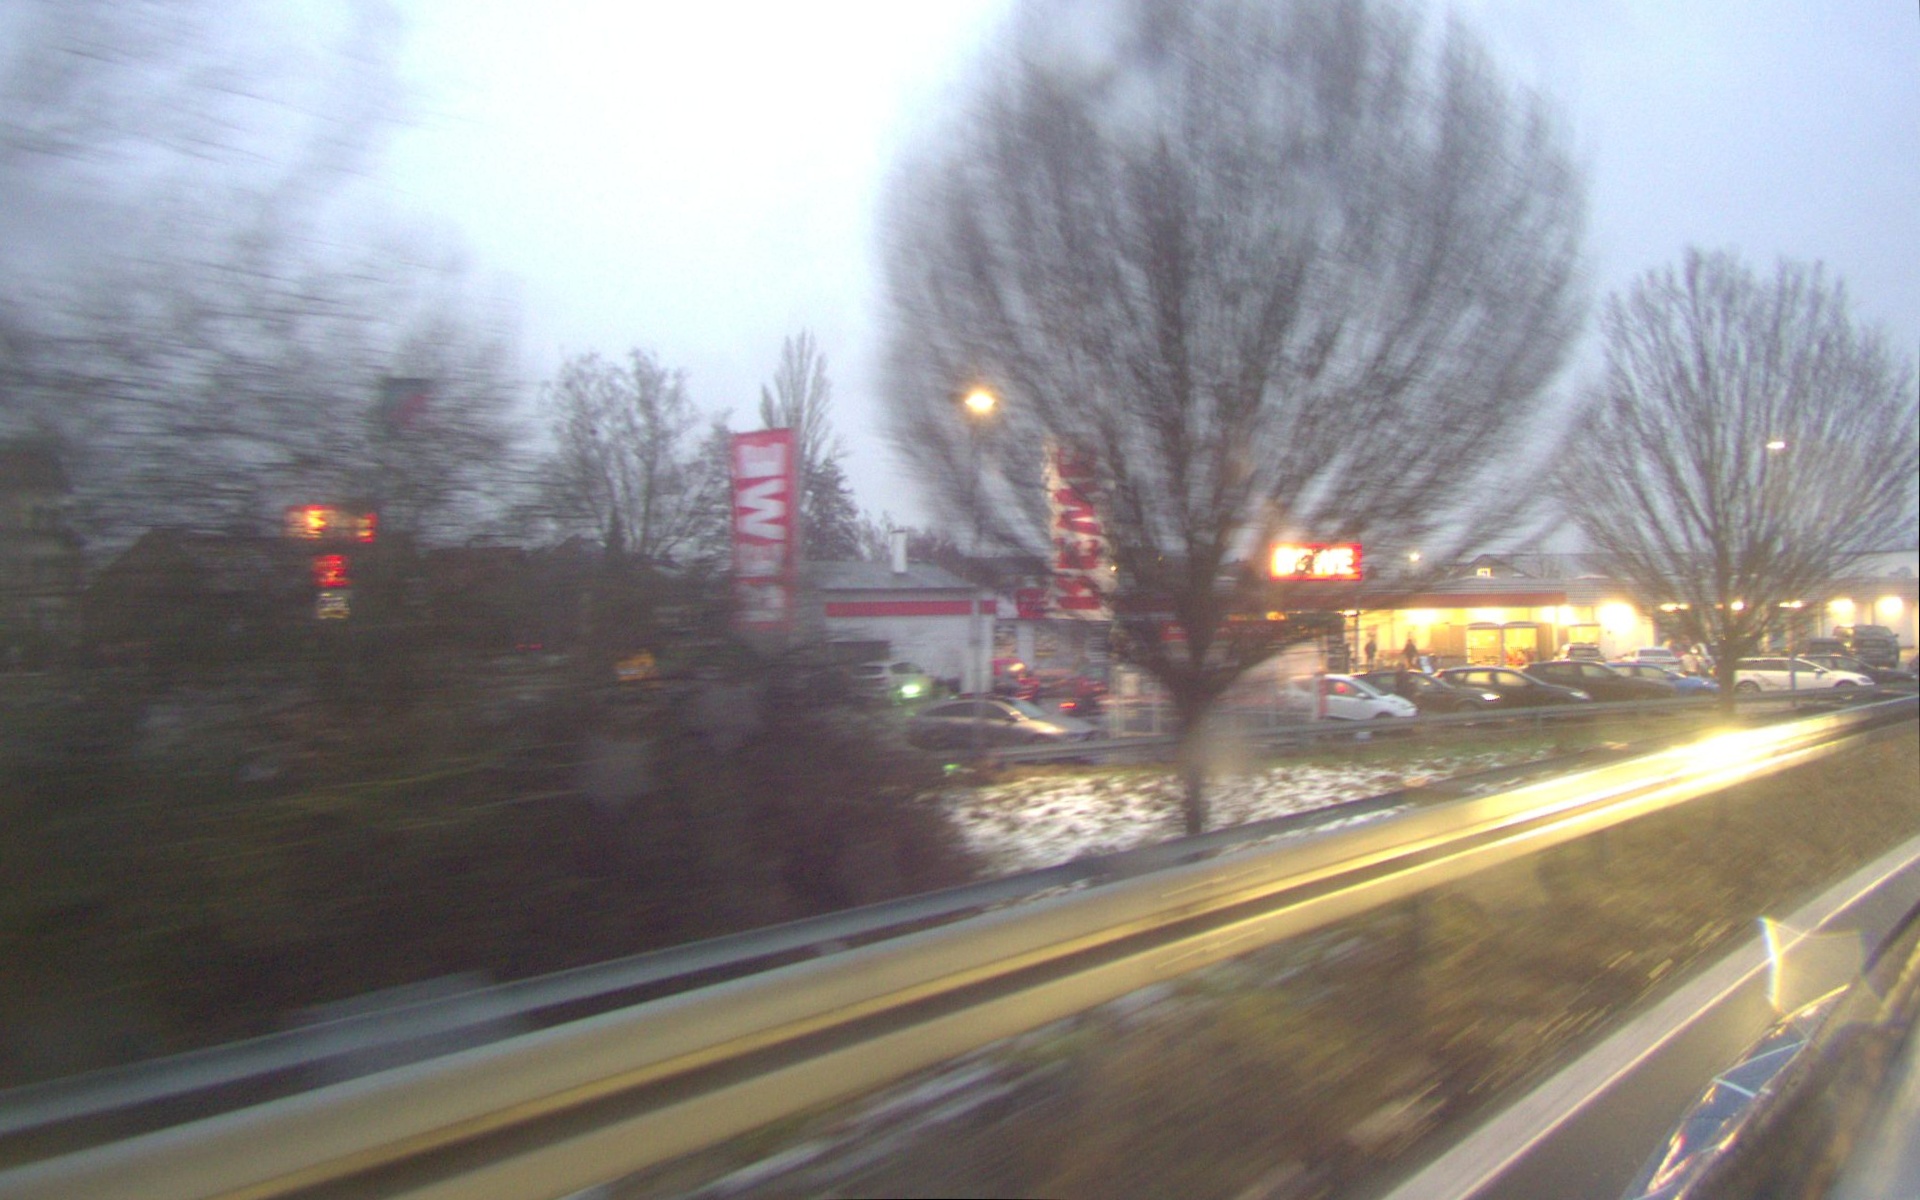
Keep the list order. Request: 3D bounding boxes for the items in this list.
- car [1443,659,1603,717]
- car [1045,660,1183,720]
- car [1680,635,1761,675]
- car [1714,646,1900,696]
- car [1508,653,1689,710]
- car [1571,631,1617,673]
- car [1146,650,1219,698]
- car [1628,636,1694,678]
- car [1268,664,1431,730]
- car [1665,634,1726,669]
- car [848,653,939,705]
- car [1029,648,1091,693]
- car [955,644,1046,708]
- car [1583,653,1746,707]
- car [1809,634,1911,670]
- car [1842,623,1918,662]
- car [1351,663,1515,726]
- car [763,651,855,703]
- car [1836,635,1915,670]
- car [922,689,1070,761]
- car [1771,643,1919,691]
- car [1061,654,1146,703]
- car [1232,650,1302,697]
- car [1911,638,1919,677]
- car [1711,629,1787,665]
[{"bbox_3d":[16.325,2.525,29.570,3.961,1.438,1.616,0,0,27],"label":"car"},{"bbox_3d":[4.864,2.802,32.071,3.950,1.622,1.727,0,0,-18],"label":"car"},{"bbox_3d":[34.068,2.439,45.464,1.805,1.660,4.434,-1,-2,23],"label":"car"},{"bbox_3d":[28.856,2.386,34.716,4.671,1.414,1.882,0,1,34],"label":"car"},{"bbox_3d":[19.395,2.427,30.986,4.550,1.473,1.910,-1,0,31],"label":"car"},{"bbox_3d":[27.272,2.188,43.516,1.588,1.606,3.589,-1,0,33],"label":"car"},{"bbox_3d":[8.214,2.683,37.226,1.556,1.448,3.720,0,0,30],"label":"car"},{"bbox_3d":[30.354,2.439,43.940,1.789,1.555,4.499,-1,0,28],"label":"car"},{"bbox_3d":[10.499,2.573,27.328,3.961,1.457,1.780,0,0,27],"label":"car"},{"bbox_3d":[36.330,2.527,50.106,1.710,1.520,3.990,0,0,26],"label":"car"},{"bbox_3d":[-2.479,2.939,38.389,1.609,1.628,3.797,0,0,31],"label":"car"},{"bbox_3d":[4.028,2.781,40.299,1.550,1.504,3.736,0,0,20],"label":"car"},{"bbox_3d":[1.470,2.578,35.353,1.706,1.892,3.999,0,0,26],"label":"car"},{"bbox_3d":[22.502,2.517,32.534,4.146,1.414,1.884,0,1,31],"label":"car"},{"bbox_3d":[40.803,2.358,45.973,3.235,1.555,1.375,-2,-2,34],"label":"car"},{"bbox_3d":[49.553,2.268,54.632,1.870,1.983,4.909,-2,-2,29],"label":"car"},{"bbox_3d":[12.993,2.556,27.919,3.961,1.438,1.616,0,0,27],"label":"car"},{"bbox_3d":[-5.644,2.867,38.252,1.553,1.633,3.804,0,0,26],"label":"car"},{"bbox_3d":[43.980,2.489,48.695,1.699,1.536,3.236,-1,-1,20],"label":"car"},{"bbox_3d":[0.826,2.860,23.505,3.176,1.330,1.378,0,0,26],"label":"car"},{"bbox_3d":[31.497,2.338,35.823,4.150,1.414,1.829,0,1,34],"label":"car"},{"bbox_3d":[5.275,2.814,36.802,1.559,1.448,3.714,0,0,35],"label":"car"},{"bbox_3d":[11.710,2.733,38.473,1.730,1.443,4.272,0,0,29],"label":"car"},{"bbox_3d":[37.575,2.122,37.505,3.731,1.447,1.777,-1,0,-18],"label":"car"},{"bbox_3d":[39.904,2.356,51.277,1.778,1.615,3.956,0,0,18],"label":"car"}]
